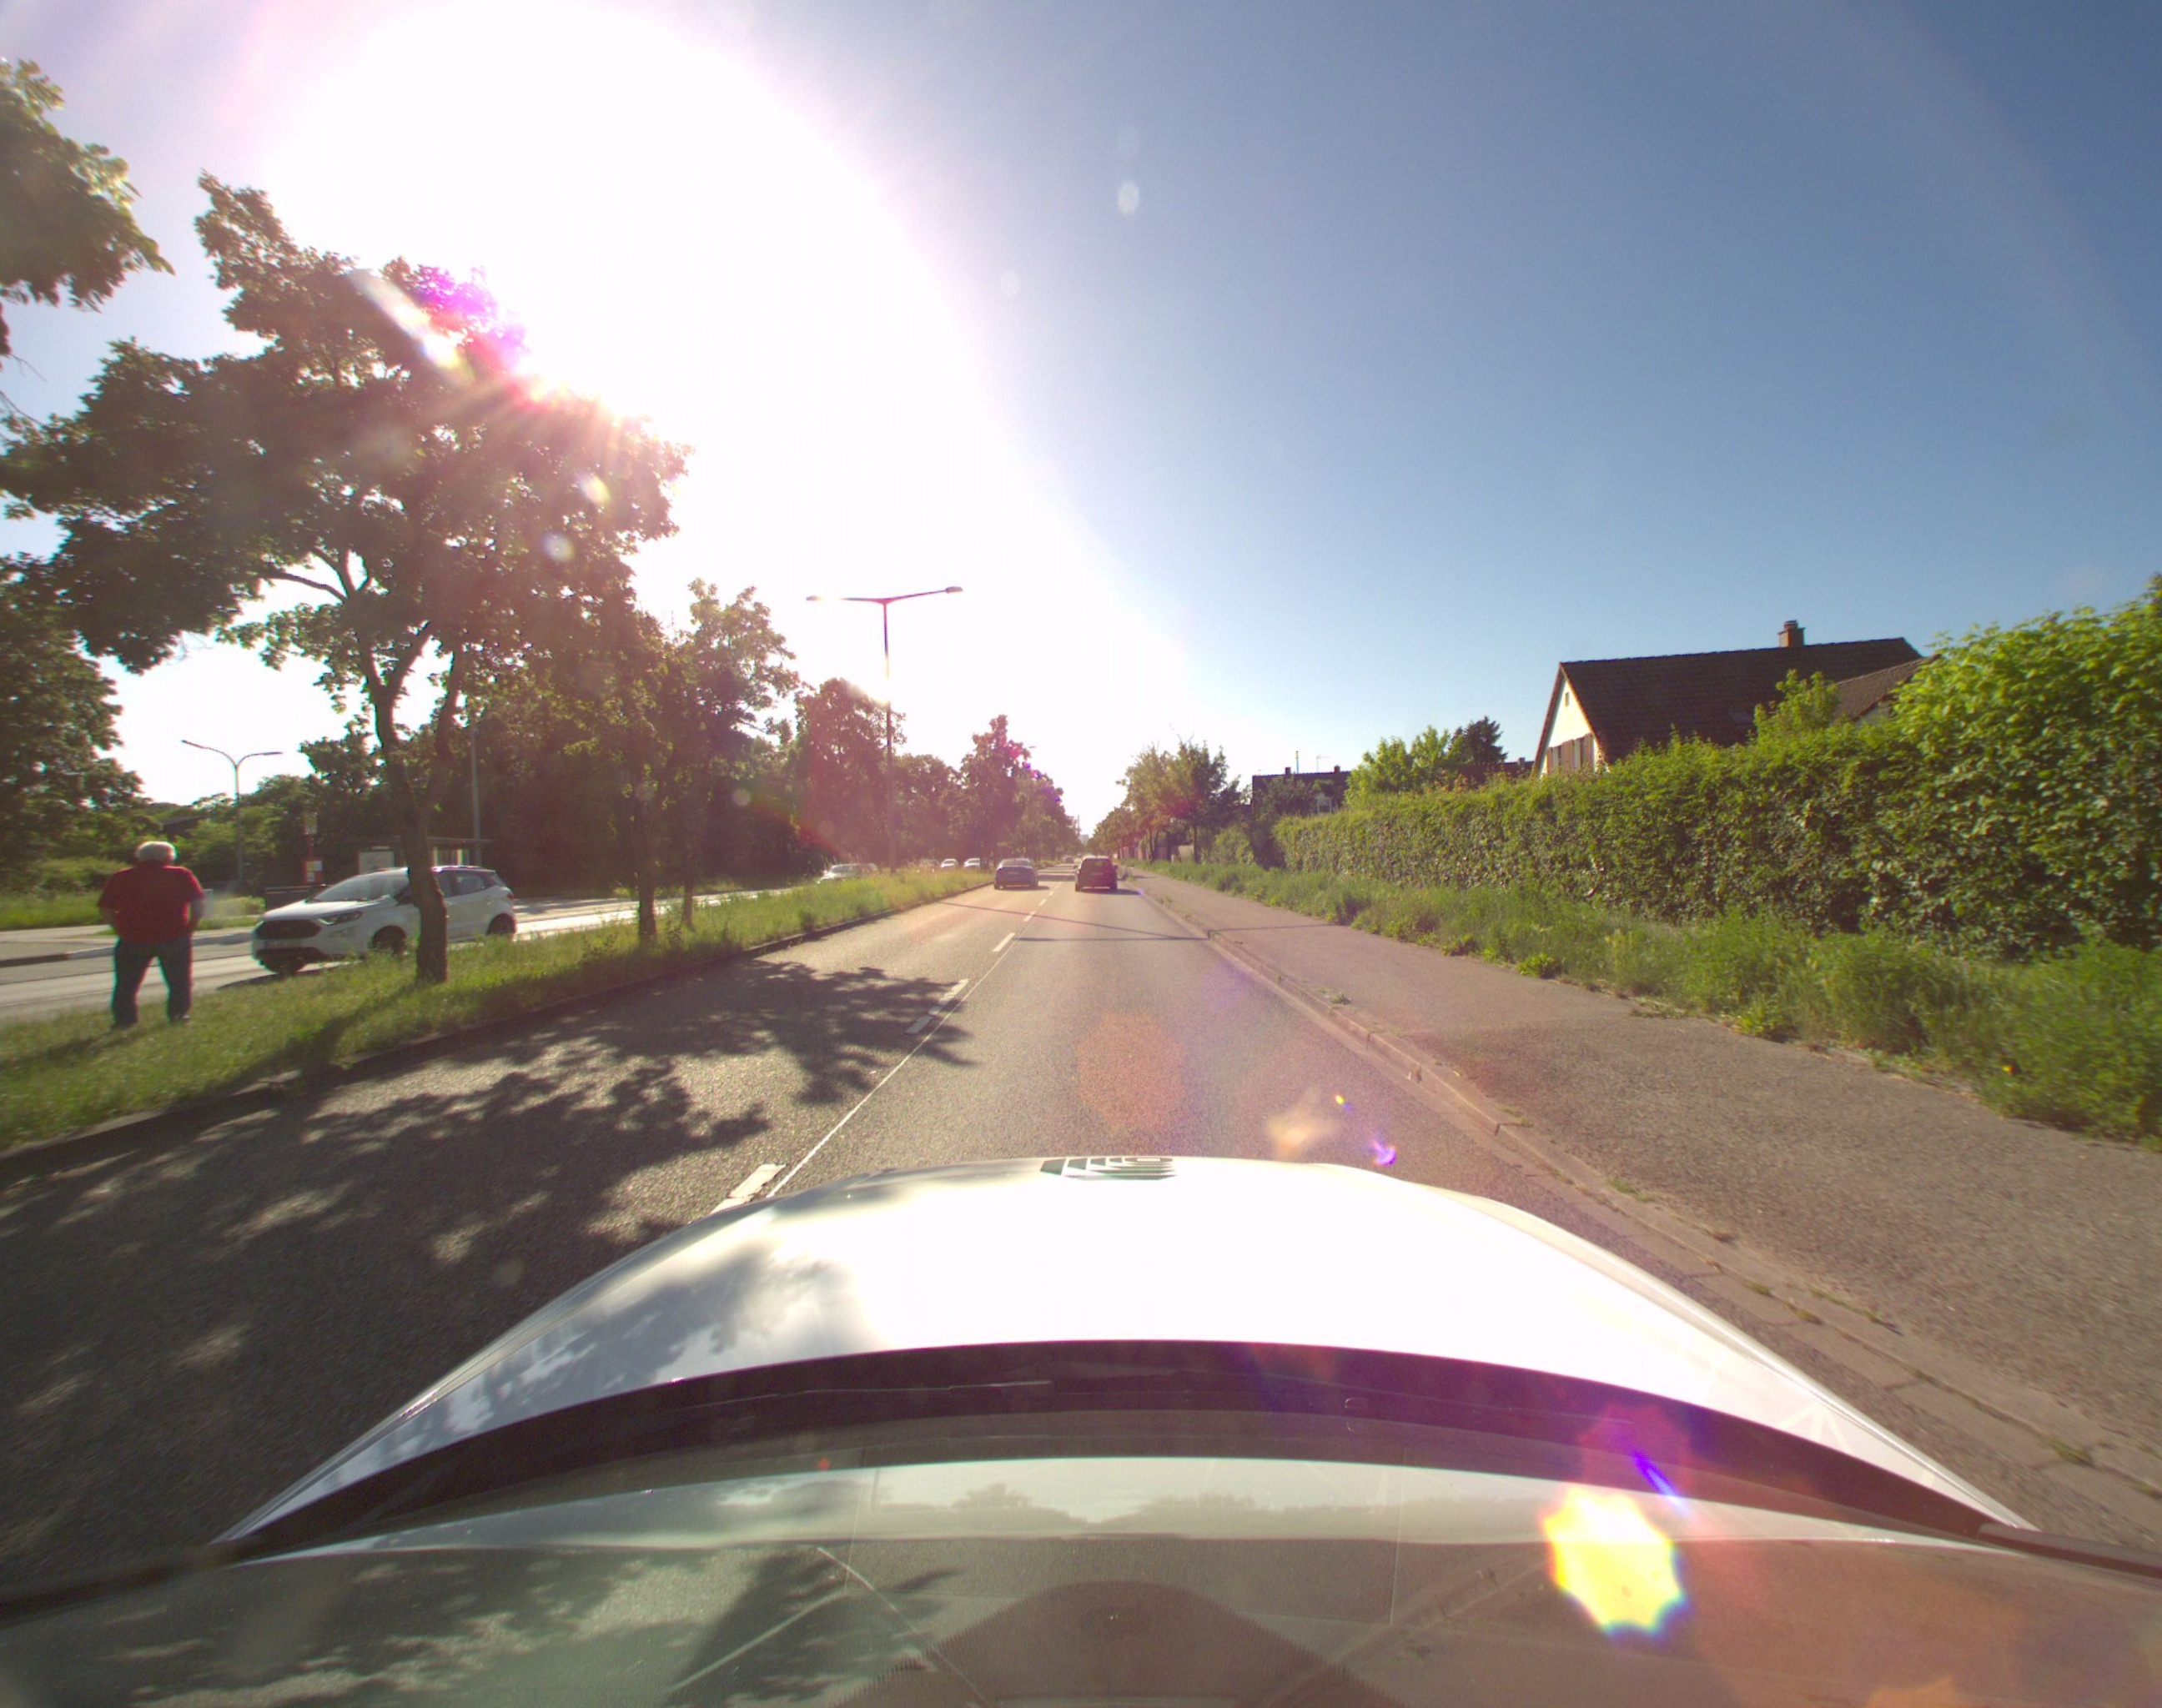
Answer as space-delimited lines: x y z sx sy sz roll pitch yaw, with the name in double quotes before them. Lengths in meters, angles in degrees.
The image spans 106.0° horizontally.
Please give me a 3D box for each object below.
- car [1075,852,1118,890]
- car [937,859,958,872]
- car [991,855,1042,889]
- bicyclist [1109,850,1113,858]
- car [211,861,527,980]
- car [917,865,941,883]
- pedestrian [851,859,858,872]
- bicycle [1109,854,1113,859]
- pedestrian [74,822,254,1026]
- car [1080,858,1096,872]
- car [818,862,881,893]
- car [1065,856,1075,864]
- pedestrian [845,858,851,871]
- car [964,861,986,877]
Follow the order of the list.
"car" 0.680 0.698 34.872 1.754 1.559 4.001 0 0 1
"car" -15.865 1.356 96.955 1.833 1.413 3.998 -1 0 -1
"car" -3.001 0.808 38.572 1.988 1.405 4.001 -2 0 1
"bicyclist" 5.235 -0.042 143.269 0.678 1.418 0.812 -1 0 0
"car" -11.969 1.003 14.154 1.725 1.632 4.197 -2 0 0
"car" -15.264 1.951 81.830 1.599 1.563 3.998 -4 0 -1
"pedestrian" -26.572 1.318 95.583 0.543 1.460 0.917 -2 0 0
"bicycle" 5.284 0.383 143.122 0.653 0.892 1.874 -1 0 0
"pedestrian" -8.239 0.577 7.343 0.624 1.696 0.949 -1 0 31
"car" 0.916 1.444 107.076 1.741 1.597 4.169 -1 1 -4
"car" -11.760 1.168 41.669 1.776 1.361 4.978 -1 0 0
"car" -2.256 1.220 165.328 1.974 1.440 3.995 -2 1 -4
"pedestrian" -27.351 1.242 95.546 0.543 1.460 0.596 -1 0 0
"car" -11.468 1.564 88.376 1.708 1.602 4.358 -2 0 0
